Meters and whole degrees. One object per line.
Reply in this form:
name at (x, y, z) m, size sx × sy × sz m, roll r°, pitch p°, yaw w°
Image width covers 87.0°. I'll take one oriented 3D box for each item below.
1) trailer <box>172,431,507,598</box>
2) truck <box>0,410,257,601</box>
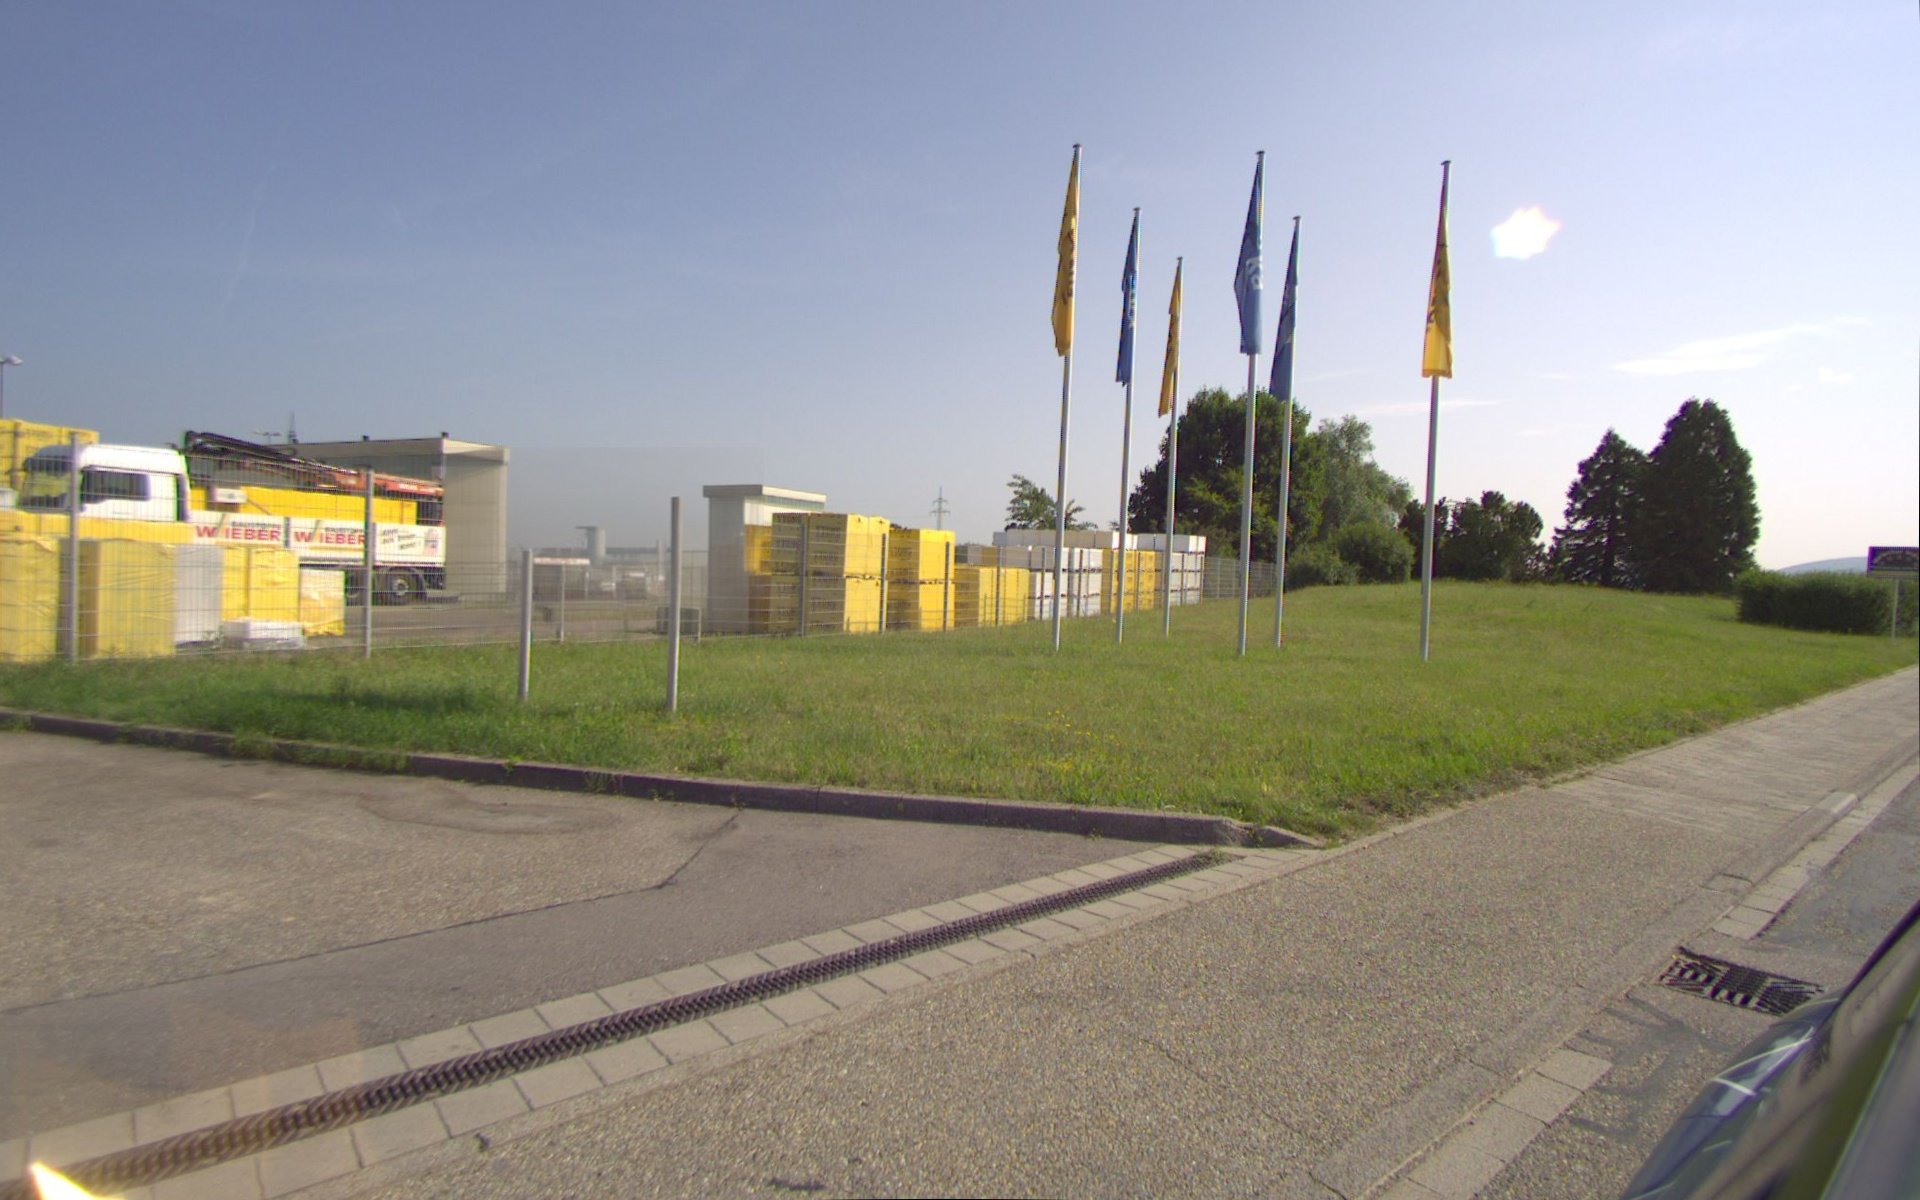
trailer at (-16.567, -2.073, 27.797) m, size 2.461 × 3.924 × 7.729 m, roll 0°, pitch 1°, yaw 27°
truck at (-18.919, -1.984, 23.154) m, size 2.521 × 3.924 × 3.963 m, roll 0°, pitch 1°, yaw 27°
